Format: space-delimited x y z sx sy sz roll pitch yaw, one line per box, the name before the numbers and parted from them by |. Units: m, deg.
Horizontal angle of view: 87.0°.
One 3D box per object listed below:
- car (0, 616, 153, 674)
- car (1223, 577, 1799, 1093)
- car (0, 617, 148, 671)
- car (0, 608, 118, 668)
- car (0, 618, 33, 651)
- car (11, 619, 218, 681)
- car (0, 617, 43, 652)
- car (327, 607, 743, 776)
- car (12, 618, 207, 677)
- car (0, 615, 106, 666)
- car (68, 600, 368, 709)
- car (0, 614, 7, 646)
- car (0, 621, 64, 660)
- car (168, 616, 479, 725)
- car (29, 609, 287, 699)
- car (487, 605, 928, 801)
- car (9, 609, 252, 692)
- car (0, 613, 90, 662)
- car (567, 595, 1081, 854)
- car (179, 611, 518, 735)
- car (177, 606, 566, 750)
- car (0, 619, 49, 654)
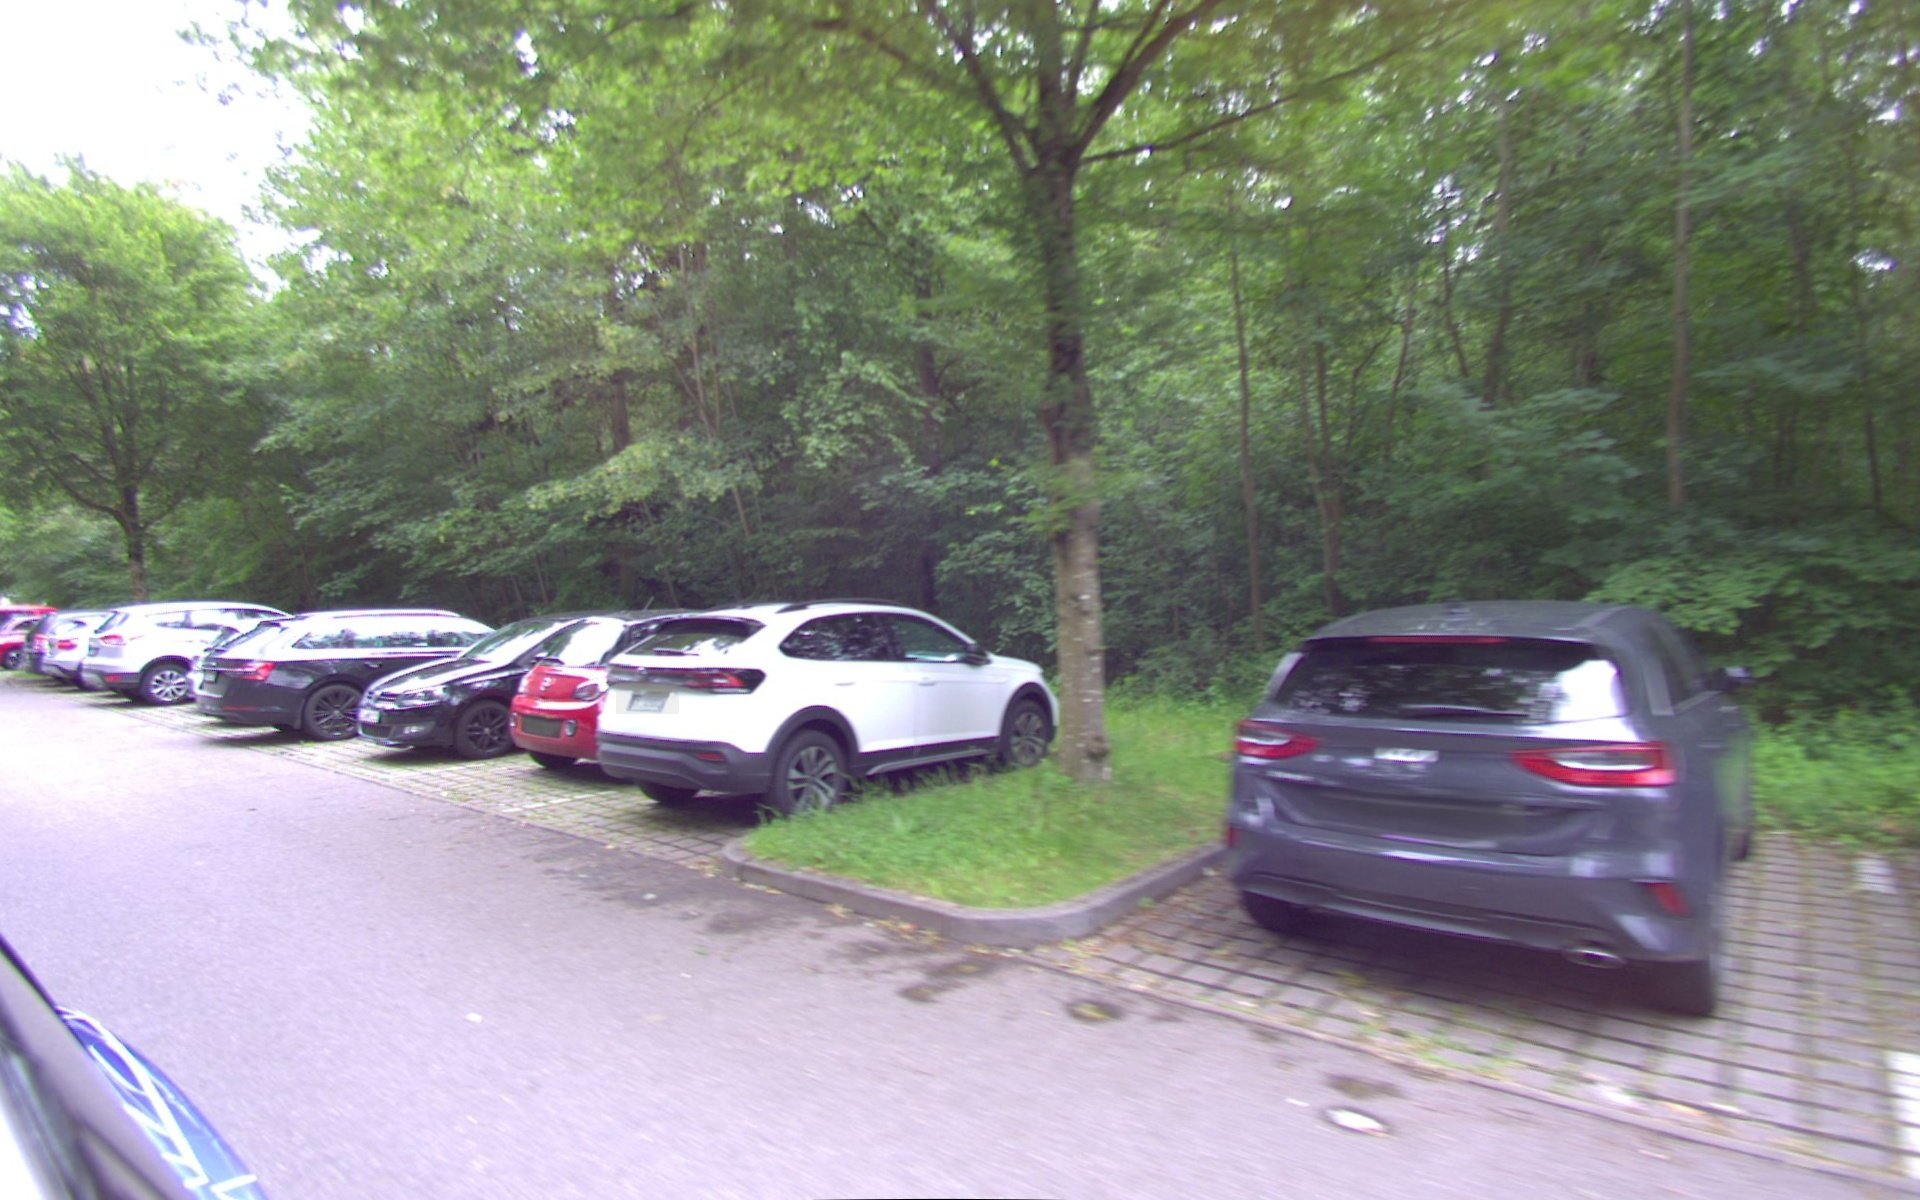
car | -25.939 1.269 29.184 1.770 1.527 3.946 -1 -1 40
car | 2.984 0.660 4.982 1.714 1.449 3.947 -2 0 40
car | -27.906 1.340 31.441 1.817 1.527 3.946 -1 -1 40
car | -29.690 1.201 32.402 1.816 1.828 3.947 -1 -1 40
car | -46.380 1.689 47.504 1.710 1.528 3.953 -1 1 35
car | -21.708 1.227 26.093 1.696 1.459 3.943 -1 -1 43
car | -44.530 1.599 45.928 1.817 1.549 4.168 -1 -1 40
car | -4.573 0.866 11.334 1.677 1.446 3.945 -2 0 42
car | -23.663 1.265 28.268 1.770 1.459 3.946 -1 -1 40
car | -31.613 1.355 34.257 1.741 1.609 3.944 -1 -1 42
car | -12.933 0.860 17.838 1.812 1.675 3.948 -1 -1 39
car | -53.895 1.634 54.205 1.711 1.740 3.950 -1 -1 37
car | -37.350 1.570 39.091 1.741 1.432 3.943 -1 -1 43
car | -10.283 1.054 16.589 1.812 1.432 3.948 -2 0 39
car | -16.558 1.041 21.041 1.813 1.675 3.945 -1 -1 41
car | -2.302 0.830 10.008 1.702 1.446 3.945 -2 0 42
car | -18.435 1.051 22.641 1.694 1.675 3.948 -1 -1 39
car | -33.384 1.324 35.643 1.741 1.609 3.944 -2 0 42
car | -0.842 0.749 8.088 1.713 1.478 3.947 -2 0 40
car | -8.778 0.949 14.777 1.648 1.446 3.944 1 1 42
car | -7.302 0.859 12.864 1.677 1.446 3.945 -2 0 42
car | -42.645 1.622 44.200 1.818 1.467 4.164 -1 -1 44
